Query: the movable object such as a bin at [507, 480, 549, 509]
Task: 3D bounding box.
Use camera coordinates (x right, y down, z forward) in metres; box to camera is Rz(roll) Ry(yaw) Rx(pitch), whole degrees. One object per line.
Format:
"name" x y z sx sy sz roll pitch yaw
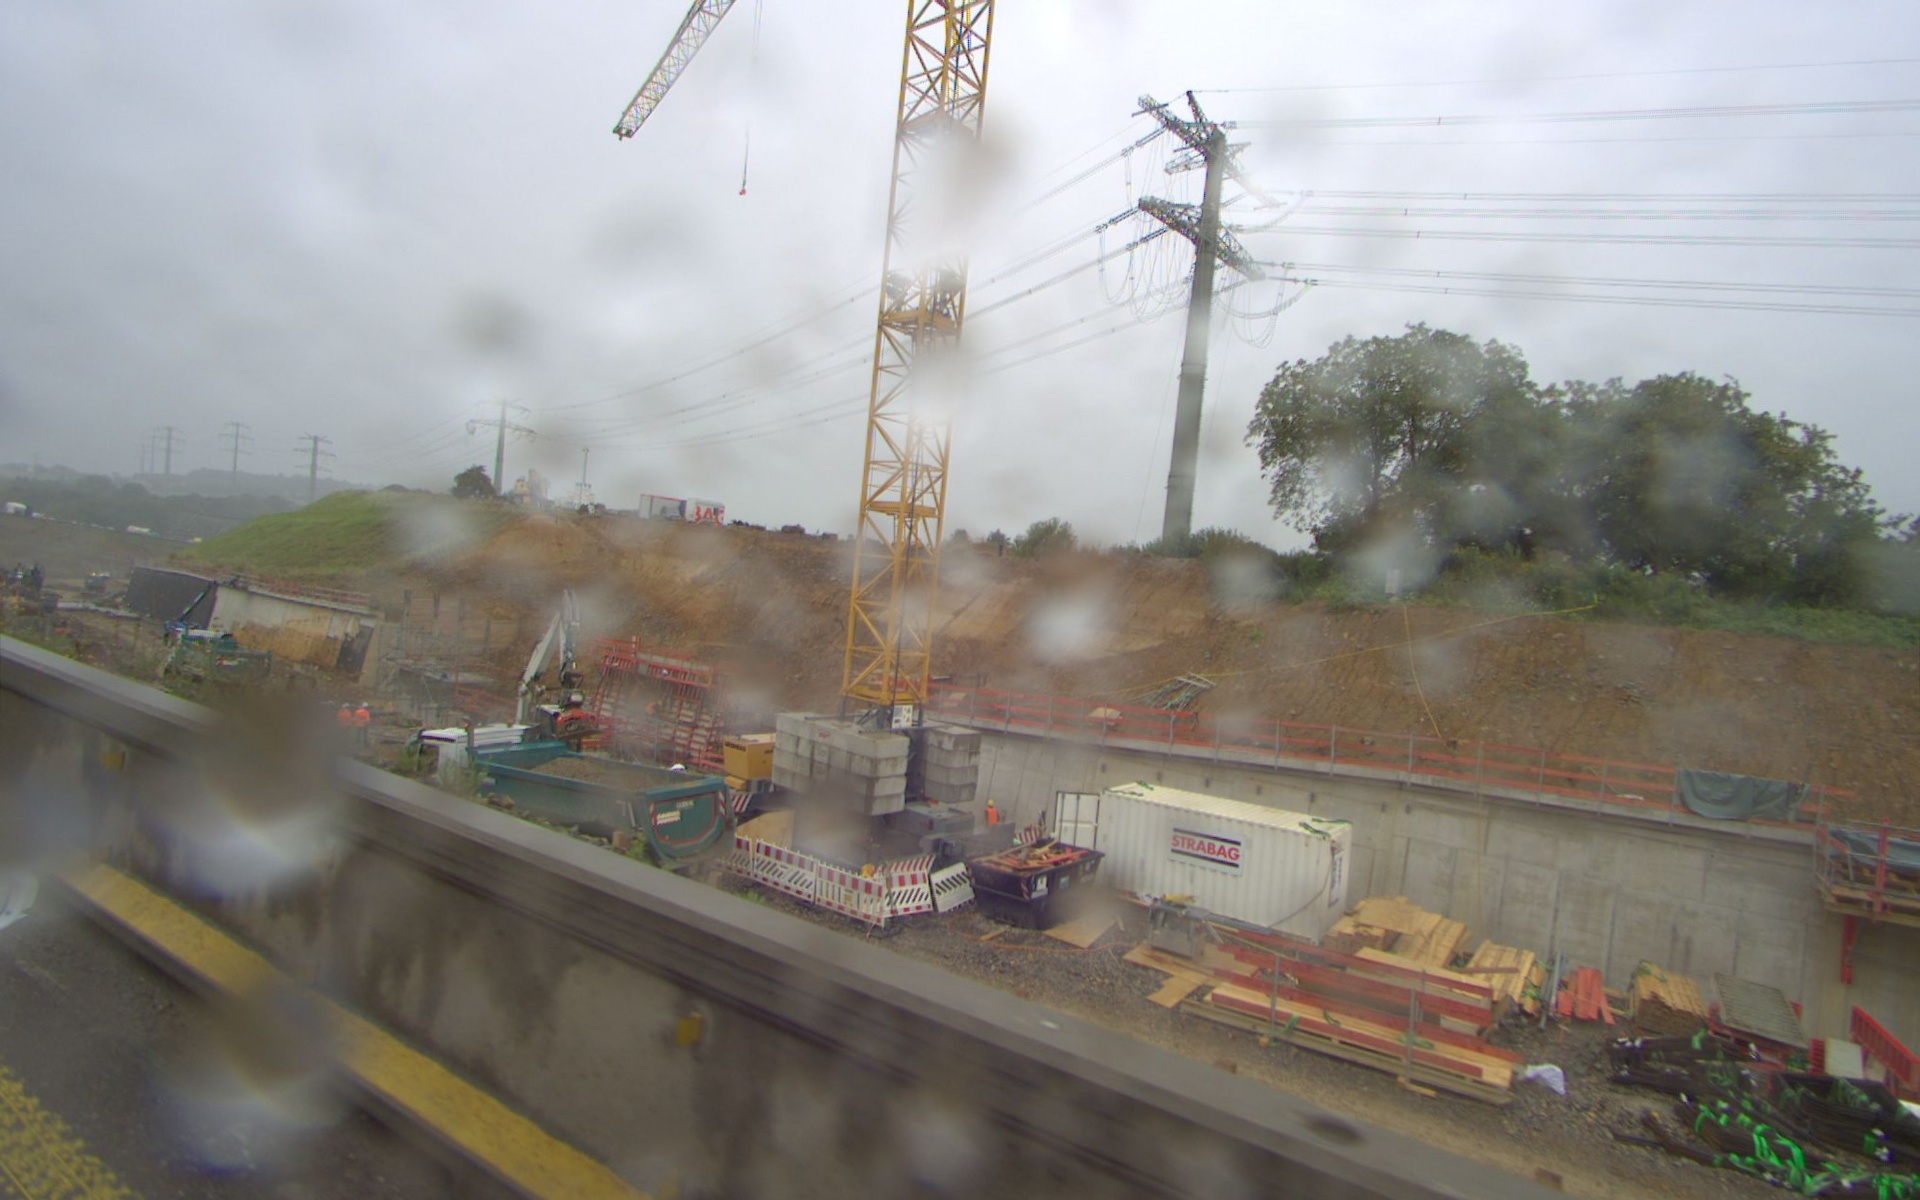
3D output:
"movable object such as a bin" -45.774 -11.164 106.476 3.913 2.472 2.427 8 -1 42

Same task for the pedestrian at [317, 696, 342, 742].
"pedestrian" -27.512 5.193 43.930 0.567 1.891 0.732 7 -1 -19

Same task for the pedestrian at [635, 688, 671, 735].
"pedestrian" -14.957 5.427 49.032 0.886 2.012 0.907 5 -12 38

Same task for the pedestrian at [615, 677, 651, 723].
"pedestrian" -16.315 4.988 50.173 0.886 2.012 0.907 5 -12 38

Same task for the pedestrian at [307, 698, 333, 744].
"pedestrian" -27.351 5.170 42.999 0.725 1.891 0.573 6 -1 41

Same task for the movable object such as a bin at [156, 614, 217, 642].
"movable object such as a bin" -70.533 2.559 91.790 3.771 2.035 2.003 6 -4 -3

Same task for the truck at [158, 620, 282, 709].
"truck" -39.037 3.307 52.920 8.933 3.530 2.730 5 -2 39

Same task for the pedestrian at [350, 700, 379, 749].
"pedestrian" -25.499 5.317 43.095 0.724 1.967 0.573 7 -1 -18

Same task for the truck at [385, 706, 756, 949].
"truck" -9.170 4.854 23.219 8.796 3.543 2.706 6 -2 30

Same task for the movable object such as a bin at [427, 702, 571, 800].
"movable object such as a bin" -15.743 5.103 34.427 2.921 2.769 3.154 6 -2 34

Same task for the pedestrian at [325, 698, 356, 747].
"pedestrian" -26.378 5.190 42.823 0.721 1.967 0.576 7 -1 6
